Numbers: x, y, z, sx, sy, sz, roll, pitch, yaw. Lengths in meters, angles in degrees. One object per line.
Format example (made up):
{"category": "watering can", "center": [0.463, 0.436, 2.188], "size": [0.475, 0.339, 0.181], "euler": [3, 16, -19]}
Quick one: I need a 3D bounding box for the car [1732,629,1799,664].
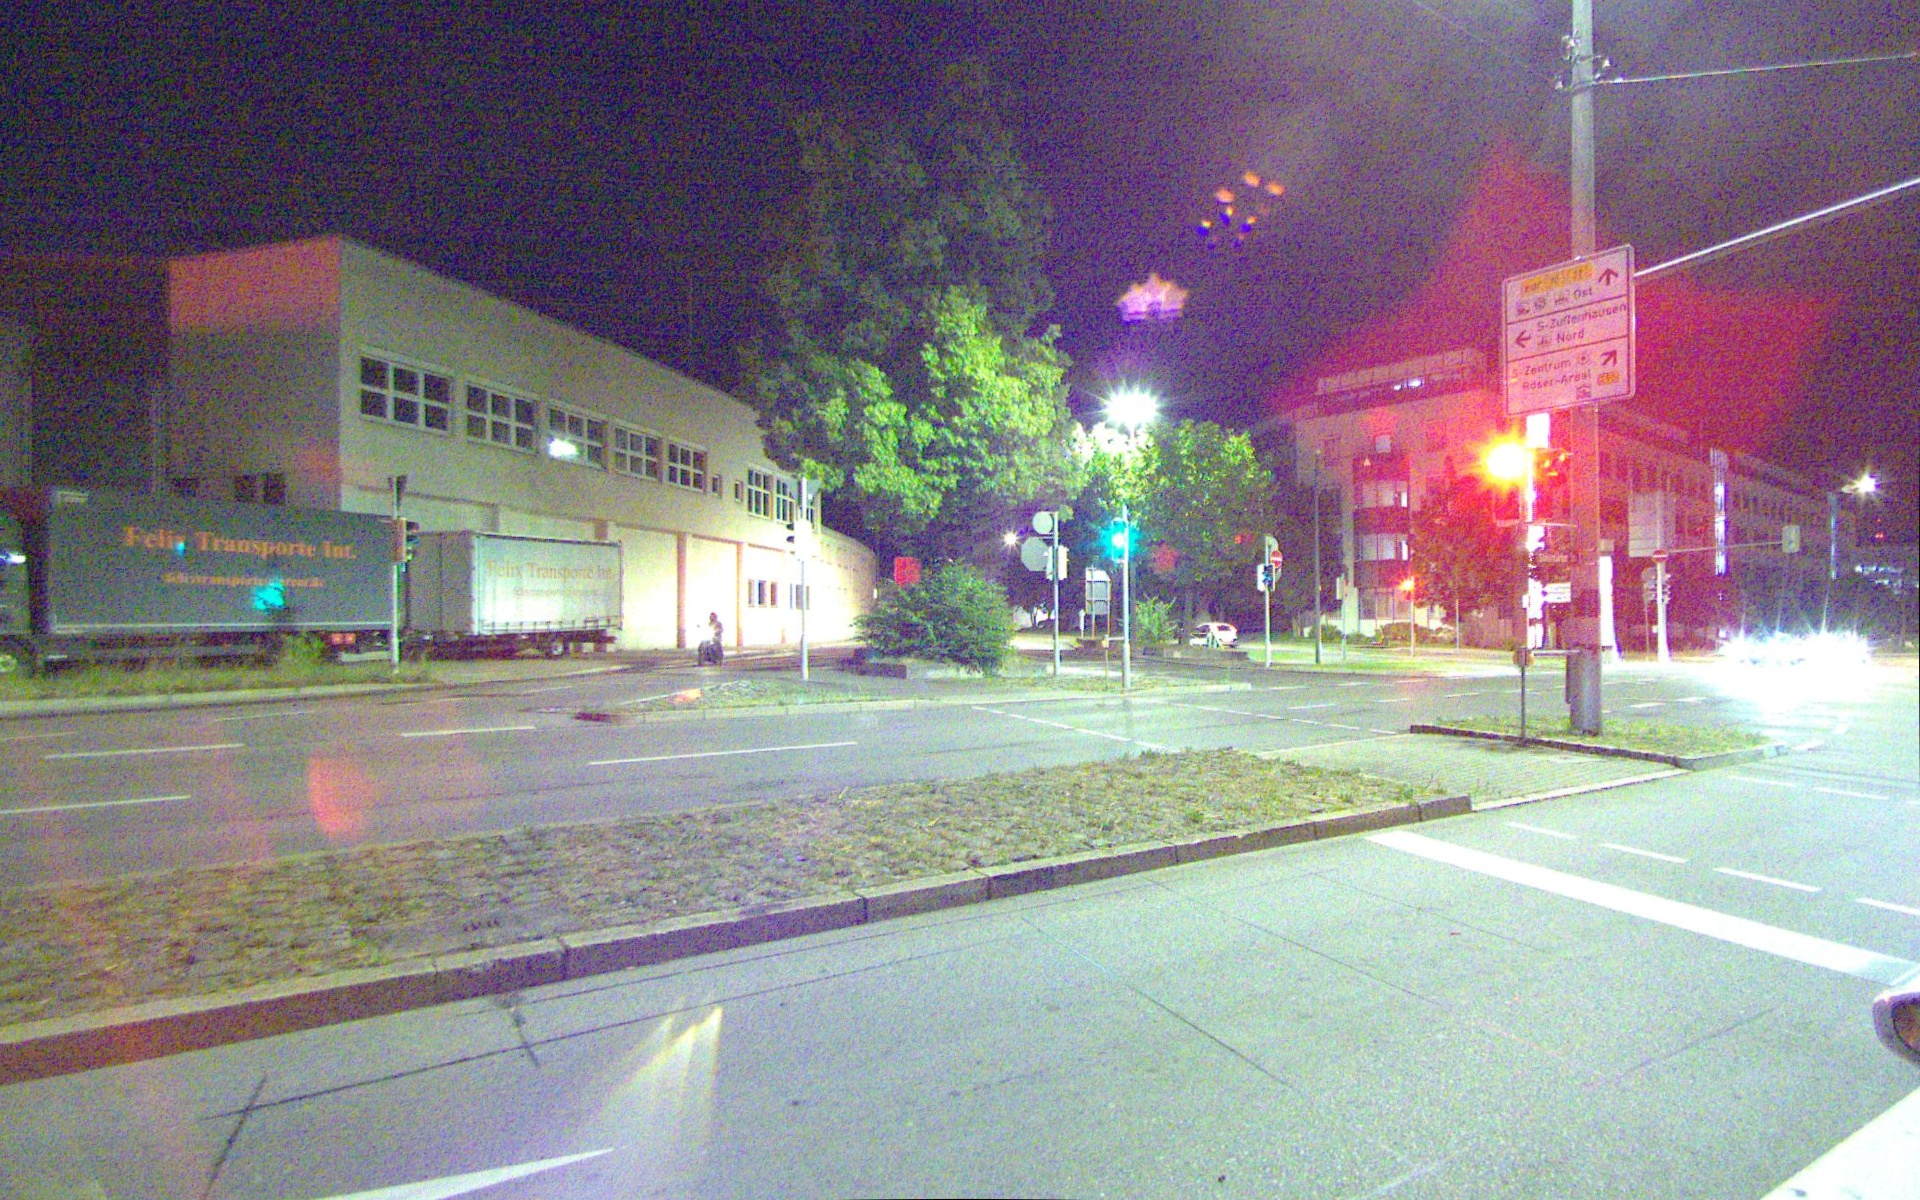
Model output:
{"category": "car", "center": [37.296, 2.163, 46.472], "size": [3.966, 1.535, 1.603], "euler": [2, -2, -39]}

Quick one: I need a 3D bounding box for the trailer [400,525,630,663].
{"category": "trailer", "center": [-13.607, -0.079, 31.362], "size": [2.571, 3.841, 6.512], "euler": [1, -1, 23]}

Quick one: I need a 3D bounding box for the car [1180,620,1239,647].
{"category": "car", "center": [14.855, 1.985, 60.048], "size": [1.681, 1.511, 3.988], "euler": [2, -1, -15]}

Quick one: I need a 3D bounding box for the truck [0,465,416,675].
{"category": "truck", "center": [-17.454, -0.449, 22.323], "size": [2.892, 3.846, 9.551], "euler": [1, -2, 25]}

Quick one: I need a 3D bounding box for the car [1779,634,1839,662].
{"category": "car", "center": [43.094, 2.441, 50.948], "size": [3.518, 1.339, 1.743], "euler": [2, -2, -39]}

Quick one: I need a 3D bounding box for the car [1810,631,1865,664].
{"category": "car", "center": [48.900, 2.646, 55.947], "size": [3.518, 1.750, 1.743], "euler": [2, -2, -39]}

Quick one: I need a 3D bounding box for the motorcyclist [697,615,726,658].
{"category": "motorcyclist", "center": [-7.475, 1.092, 30.272], "size": [0.635, 1.278, 0.579], "euler": [1, -1, 9]}

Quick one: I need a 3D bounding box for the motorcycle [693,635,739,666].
{"category": "motorcycle", "center": [-7.354, 1.506, 30.343], "size": [0.568, 0.907, 2.157], "euler": [-1, -2, 9]}
